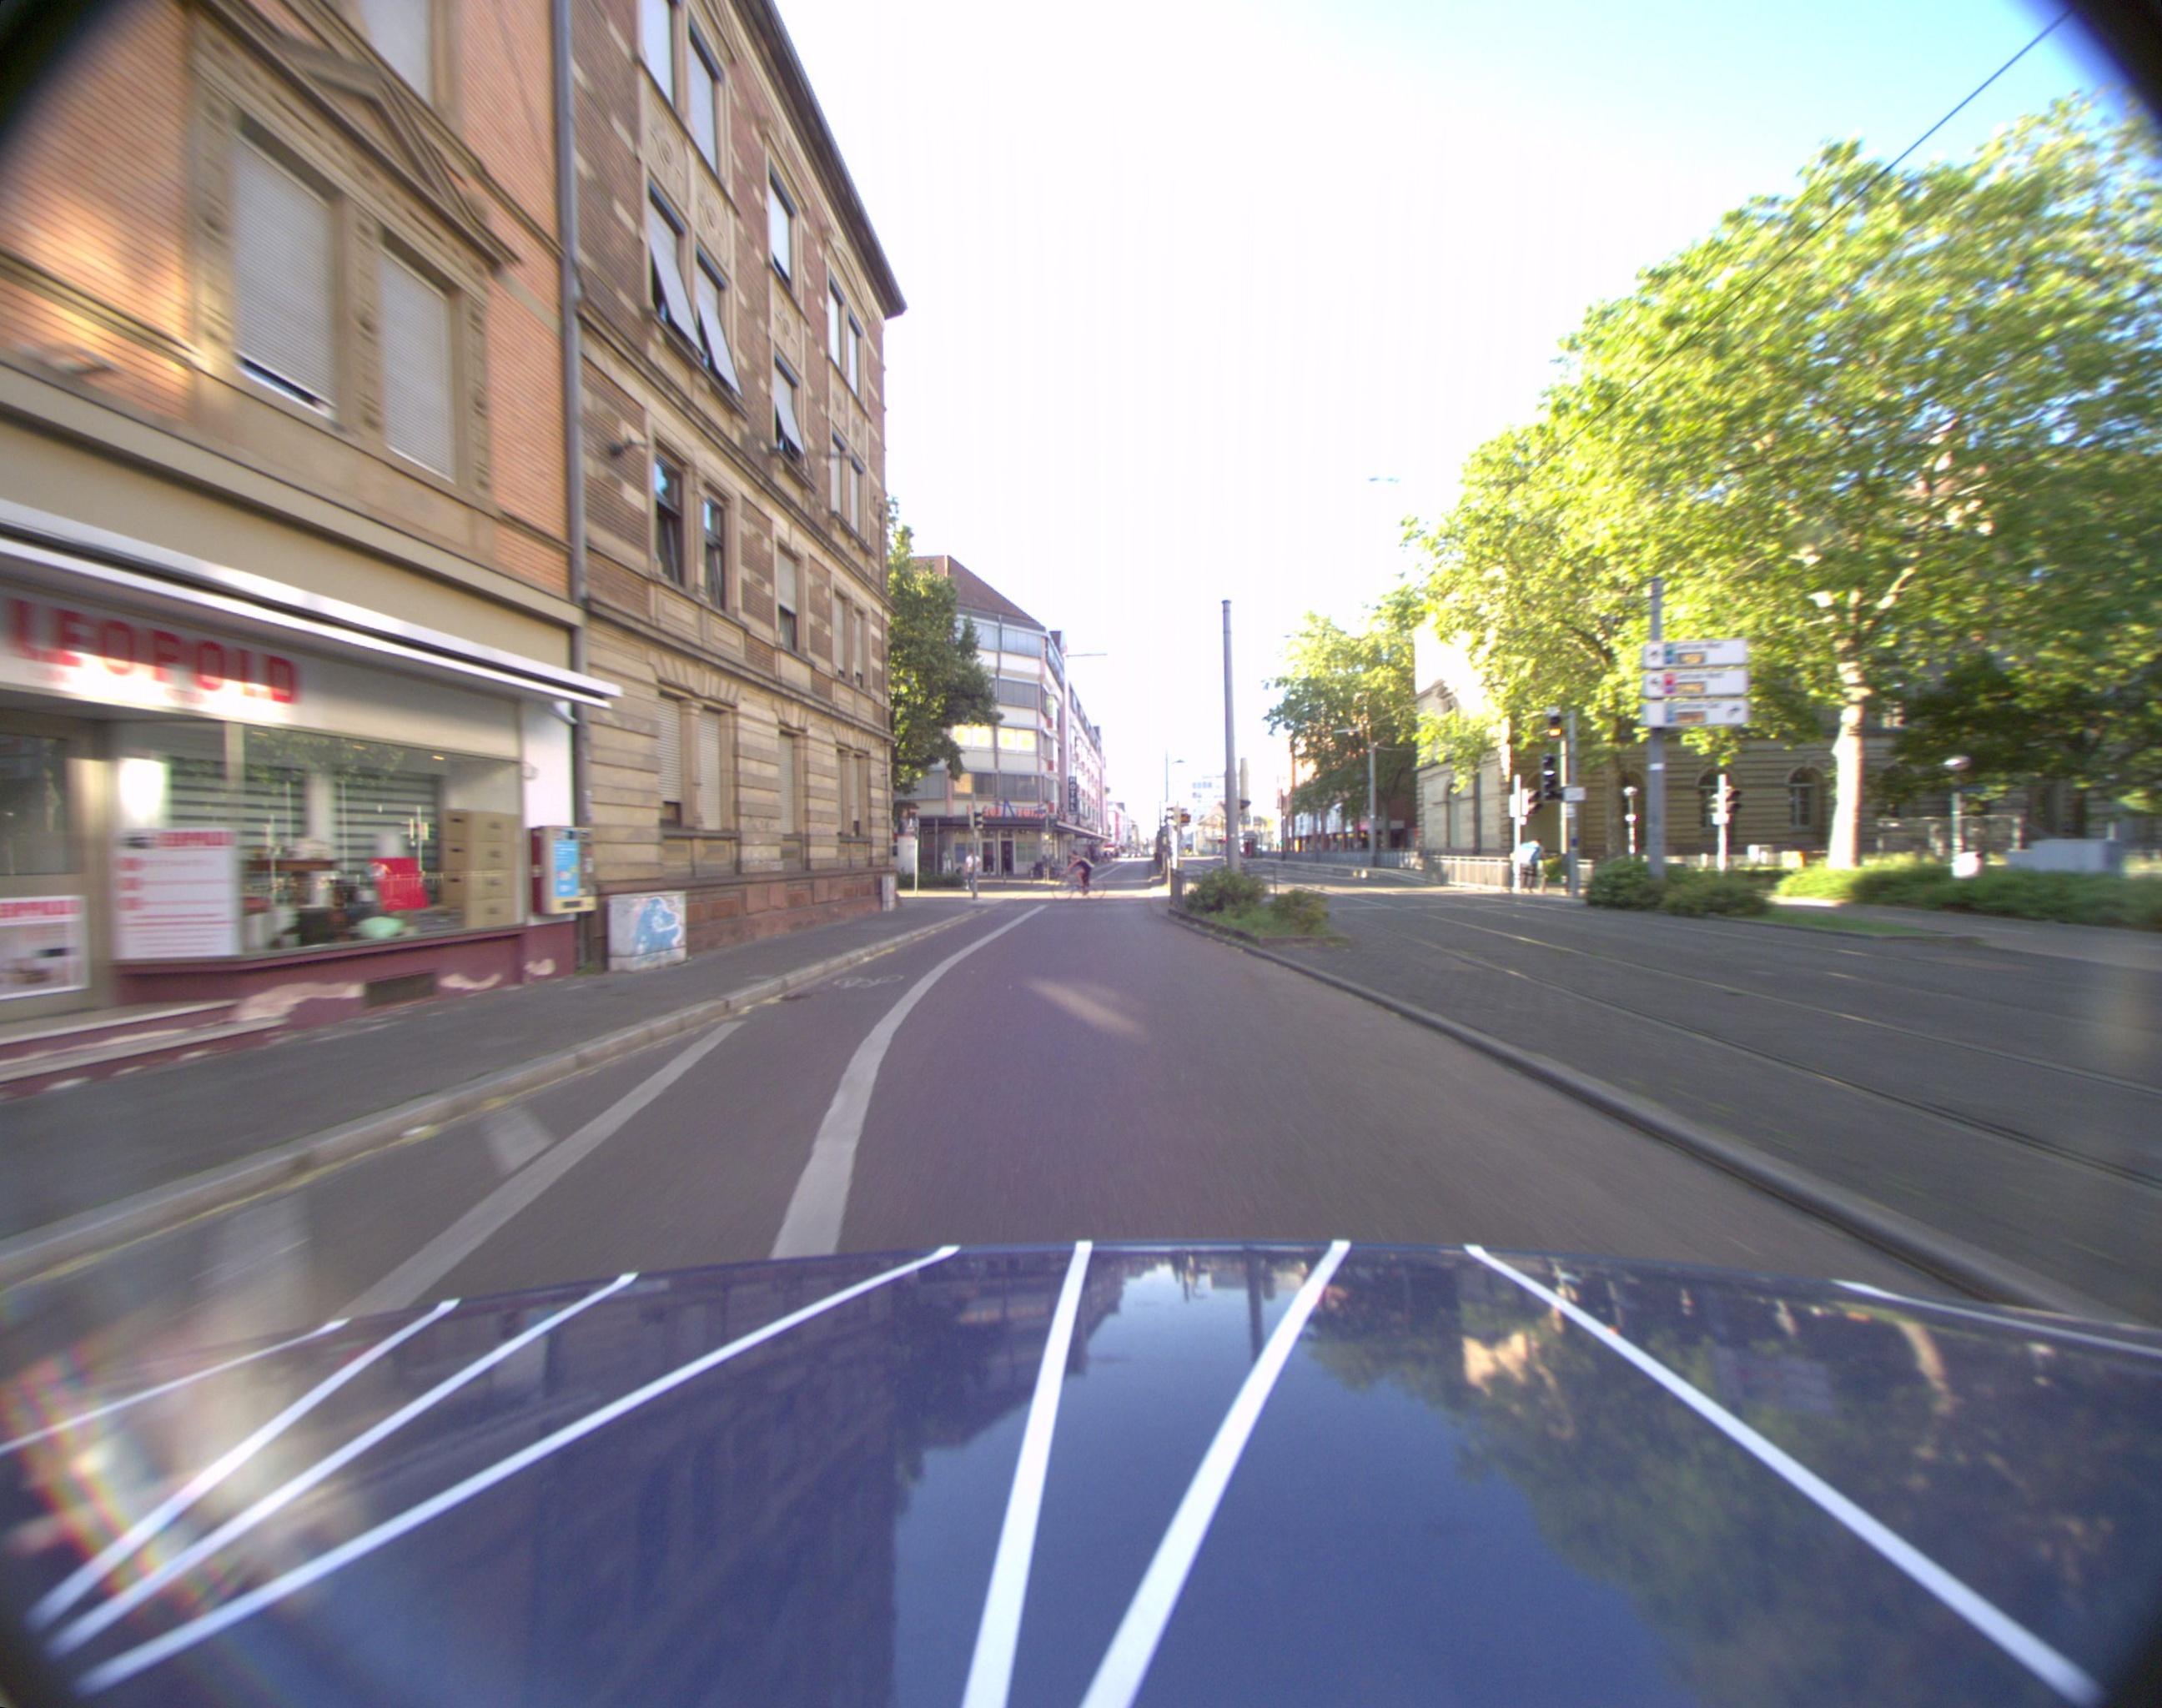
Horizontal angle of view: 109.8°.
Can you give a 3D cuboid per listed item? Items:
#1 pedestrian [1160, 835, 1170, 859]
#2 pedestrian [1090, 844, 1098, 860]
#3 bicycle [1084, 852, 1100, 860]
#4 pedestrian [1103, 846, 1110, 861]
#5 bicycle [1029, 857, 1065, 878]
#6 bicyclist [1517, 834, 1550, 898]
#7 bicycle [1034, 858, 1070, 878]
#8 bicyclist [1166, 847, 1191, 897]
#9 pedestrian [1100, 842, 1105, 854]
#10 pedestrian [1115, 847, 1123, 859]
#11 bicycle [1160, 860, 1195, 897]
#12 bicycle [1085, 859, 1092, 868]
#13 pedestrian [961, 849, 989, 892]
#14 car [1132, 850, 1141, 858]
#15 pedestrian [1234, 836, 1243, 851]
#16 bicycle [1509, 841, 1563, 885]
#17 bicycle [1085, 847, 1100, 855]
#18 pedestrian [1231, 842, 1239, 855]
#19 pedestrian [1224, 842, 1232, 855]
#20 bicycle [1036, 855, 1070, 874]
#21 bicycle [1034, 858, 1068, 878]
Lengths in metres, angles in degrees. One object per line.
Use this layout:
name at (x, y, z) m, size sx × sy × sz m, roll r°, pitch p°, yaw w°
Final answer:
pedestrian at (6.062, -0.534, 54.698) m, size 0.623 × 1.702 × 0.850 m, roll -2°, pitch 1°, yaw 5°
pedestrian at (1.626, -0.262, 92.615) m, size 0.916 × 1.856 × 0.779 m, roll 0°, pitch 2°, yaw 2°
bicycle at (1.352, 0.236, 95.690) m, size 1.928 × 1.054 × 0.700 m, roll 1°, pitch 1°, yaw 5°
pedestrian at (3.070, -0.091, 92.028) m, size 0.799 × 1.713 × 1.061 m, roll 1°, pitch 2°, yaw 6°
bicycle at (-1.855, 0.734, 41.402) m, size 1.838 × 1.048 × 0.710 m, roll -2°, pitch 1°, yaw 2°
bicyclist at (12.394, 0.325, 20.820) m, size 0.747 × 1.702 × 0.532 m, roll -3°, pitch 2°, yaw -40°
bicycle at (-1.664, 0.790, 43.801) m, size 1.975 × 1.098 × 0.614 m, roll -1°, pitch 1°, yaw 2°
bicyclist at (3.092, 0.558, 24.137) m, size 0.534 × 1.569 × 0.745 m, roll -2°, pitch 1°, yaw -11°
pedestrian at (2.877, -0.764, 103.263) m, size 0.406 × 1.586 × 0.462 m, roll 3°, pitch 2°, yaw 33°
pedestrian at (5.851, -0.161, 116.346) m, size 0.812 × 1.793 × 0.859 m, roll -5°, pitch 1°, yaw -23°
bicycle at (3.076, 0.770, 24.373) m, size 0.584 × 1.071 × 1.898 m, roll -4°, pitch 1°, yaw -6°
bicycle at (0.843, 1.115, 90.226) m, size 0.659 × 1.061 × 1.794 m, roll 3°, pitch 2°, yaw 5°
pedestrian at (-4.213, 0.638, 30.251) m, size 0.785 × 1.656 × 1.034 m, roll -2°, pitch 0°, yaw 7°
car at (13.076, 0.048, 179.851) m, size 1.971 × 1.664 × 4.877 m, roll -3°, pitch 0°, yaw 5°
pedestrian at (18.291, -1.230, 88.157) m, size 0.913 × 1.652 × 0.967 m, roll -2°, pitch 2°, yaw 4°
bicycle at (12.533, 0.240, 20.911) m, size 1.902 × 1.071 × 0.583 m, roll -5°, pitch 1°, yaw -38°
bicycle at (1.461, -0.390, 99.056) m, size 1.928 × 1.054 × 0.576 m, roll 0°, pitch 1°, yaw 3°
pedestrian at (21.149, -0.799, 104.461) m, size 0.859 × 1.757 × 0.812 m, roll -4°, pitch 1°, yaw 13°
pedestrian at (20.258, -0.717, 104.675) m, size 0.859 × 1.757 × 0.812 m, roll -4°, pitch 1°, yaw 15°
bicycle at (-1.625, 0.605, 44.454) m, size 1.917 × 1.041 × 0.681 m, roll -2°, pitch 1°, yaw 2°
bicycle at (-1.719, 0.777, 43.074) m, size 1.838 × 1.048 × 0.718 m, roll -2°, pitch 1°, yaw 2°
